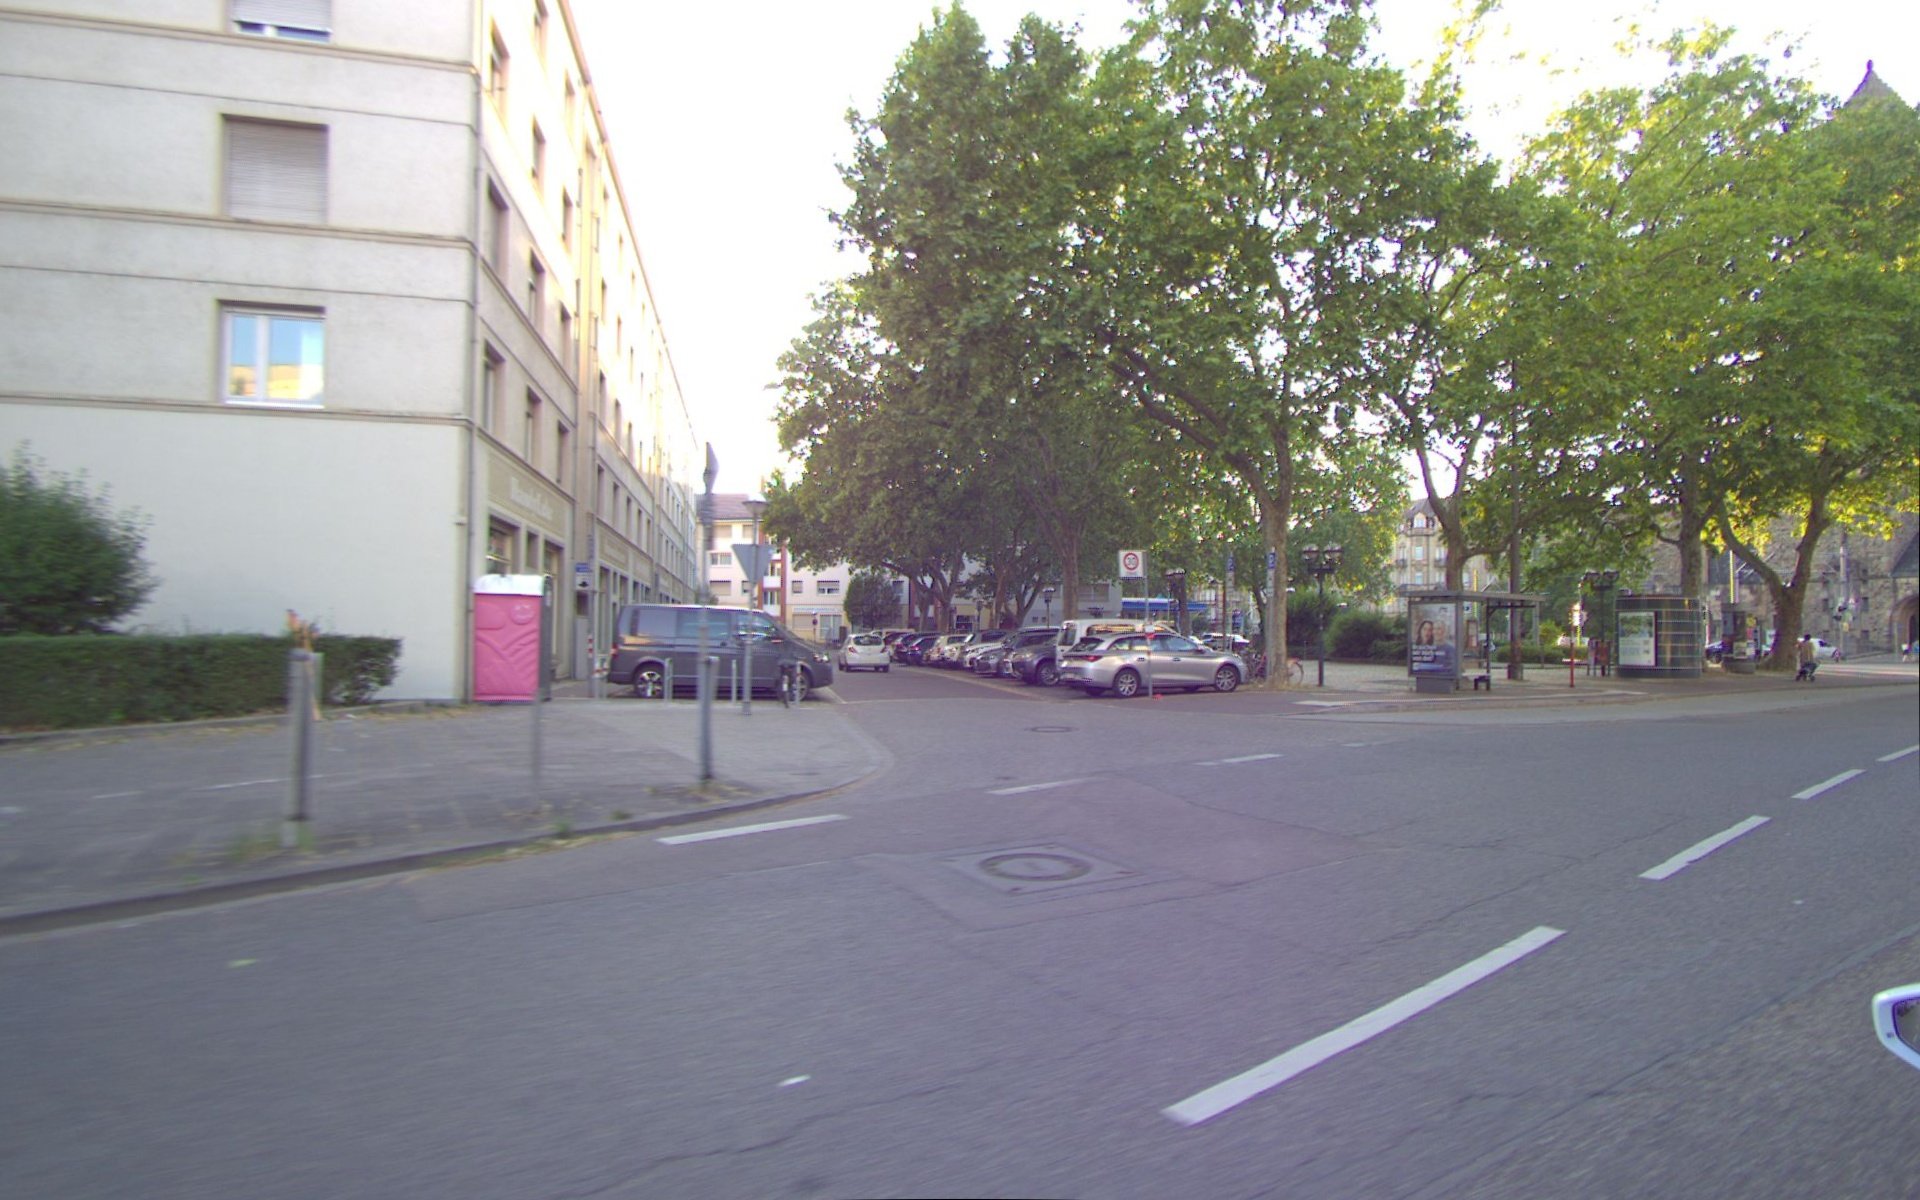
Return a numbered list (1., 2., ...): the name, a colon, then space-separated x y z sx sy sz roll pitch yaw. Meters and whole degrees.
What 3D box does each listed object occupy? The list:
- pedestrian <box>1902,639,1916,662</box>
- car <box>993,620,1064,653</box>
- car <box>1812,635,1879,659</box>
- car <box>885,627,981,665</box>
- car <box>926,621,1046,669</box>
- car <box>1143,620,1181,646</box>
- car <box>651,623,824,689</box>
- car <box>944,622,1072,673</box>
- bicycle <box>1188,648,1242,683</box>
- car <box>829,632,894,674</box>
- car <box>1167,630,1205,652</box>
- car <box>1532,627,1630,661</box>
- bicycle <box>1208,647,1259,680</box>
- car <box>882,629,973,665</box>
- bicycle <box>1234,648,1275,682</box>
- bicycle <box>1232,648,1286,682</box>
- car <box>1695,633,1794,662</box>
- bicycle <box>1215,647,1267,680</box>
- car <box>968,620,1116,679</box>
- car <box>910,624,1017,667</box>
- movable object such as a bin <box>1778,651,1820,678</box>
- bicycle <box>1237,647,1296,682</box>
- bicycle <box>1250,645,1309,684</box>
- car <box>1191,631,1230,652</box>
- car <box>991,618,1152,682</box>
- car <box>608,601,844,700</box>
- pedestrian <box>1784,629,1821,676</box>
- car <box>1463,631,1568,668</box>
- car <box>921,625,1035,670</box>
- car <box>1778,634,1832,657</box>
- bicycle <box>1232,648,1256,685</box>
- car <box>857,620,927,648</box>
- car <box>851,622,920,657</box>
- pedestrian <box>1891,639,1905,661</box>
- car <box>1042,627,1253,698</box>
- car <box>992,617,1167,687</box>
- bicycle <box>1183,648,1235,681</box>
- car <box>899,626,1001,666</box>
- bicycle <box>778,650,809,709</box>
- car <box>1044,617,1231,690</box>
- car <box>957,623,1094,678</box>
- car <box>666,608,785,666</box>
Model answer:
1. pedestrian: 66.955 3.535 70.892 0.541 1.605 0.554 1 -1 -25
2. car: 4.973 2.645 72.926 4.763 2.322 1.995 2 -2 -13
3. car: 71.342 3.789 81.001 1.683 1.829 3.797 1 -2 -13
4. car: -1.404 2.361 51.720 4.556 1.865 2.078 0 -1 -17
5. car: 1.041 1.842 41.529 4.555 1.865 2.078 0 -1 -16
6. car: 18.157 2.979 90.513 1.896 2.289 4.332 1 -2 -10
7. car: -5.850 1.468 26.609 4.264 1.616 2.045 2 -2 -13
8. car: 1.820 1.806 38.888 4.554 1.865 2.079 0 -1 -16
9. bicycle: 7.399 1.896 29.178 1.476 0.981 0.394 0 -1 -7
10. car: -3.907 2.034 39.443 1.966 1.539 3.989 1 -2 -14
11. car: 20.570 3.722 91.539 1.896 1.866 4.332 1 -2 -10
12. car: 35.387 2.478 57.295 4.548 1.865 2.081 0 -1 -11
13. bicycle: 8.378 1.944 30.780 1.476 0.981 0.394 0 -1 -7
14. car: -1.797 2.517 54.655 4.556 1.865 2.078 0 -1 -17
15. bicycle: 8.727 1.913 29.711 1.491 0.981 0.391 2 -2 -39
16. bicycle: 8.707 1.879 29.261 1.476 0.981 0.394 0 -1 -7
17. car: 46.475 2.788 59.591 1.977 1.672 4.230 1 -2 -31
18. bicycle: 8.460 1.921 30.291 1.476 0.981 0.394 0 -1 -7
19. car: 2.716 1.616 33.707 4.551 1.865 2.080 0 -1 -13
20. car: 0.155 2.062 46.360 4.556 1.865 2.078 0 -1 -17
21. movable object such as a bin: 29.150 2.236 34.900 0.968 0.902 0.737 1 -2 -20
22. bicycle: 8.801 1.853 28.873 1.612 0.981 0.408 0 -1 -7
23. bicycle: 8.969 1.800 28.205 1.564 1.088 0.402 0 -1 -7
24. car: 22.940 3.787 92.181 1.896 1.866 4.332 1 -2 -10
25. car: 3.421 1.516 31.221 4.551 1.865 2.080 0 -1 -13
26. car: -5.032 1.109 21.992 4.762 1.999 1.996 2 -2 -12
27. pedestrian: 29.803 1.854 35.539 0.675 1.650 0.737 1 -2 -20
28. car: 29.386 2.571 53.177 4.548 1.865 2.081 0 -1 -11
29. car: 0.763 2.040 43.965 4.556 1.865 2.078 0 -1 -17
30. car: 71.741 3.828 85.314 3.431 1.935 1.710 1 -2 -9
31. bicycle: 7.907 1.847 28.012 0.387 0.981 1.505 0 -2 6
32. car: -4.806 2.362 70.515 4.556 1.865 2.078 0 -1 -17
33. car: -5.416 2.869 72.988 4.762 2.370 1.996 2 -2 -12
34. pedestrian: 66.720 3.545 71.444 0.541 1.605 0.554 1 -1 -25
35. car: 4.361 1.409 23.434 4.559 1.501 1.817 0 -2 -19
36. car: 3.387 1.455 28.878 4.551 1.865 2.080 0 -1 -13
37. bicycle: 7.386 1.910 29.802 1.476 0.981 0.394 0 -1 -7
38. car: -0.511 2.227 48.946 4.556 1.865 2.078 0 -1 -17
39. bicycle: -3.193 1.500 19.350 0.470 1.056 1.823 0 -2 -6
40. car: 4.693 1.383 26.691 4.551 1.824 1.820 0 -1 -13
41. car: 2.343 1.778 36.261 4.550 1.865 2.080 0 -1 -13
42. car: -10.802 1.706 46.601 5.193 2.536 1.996 2 -2 -12
